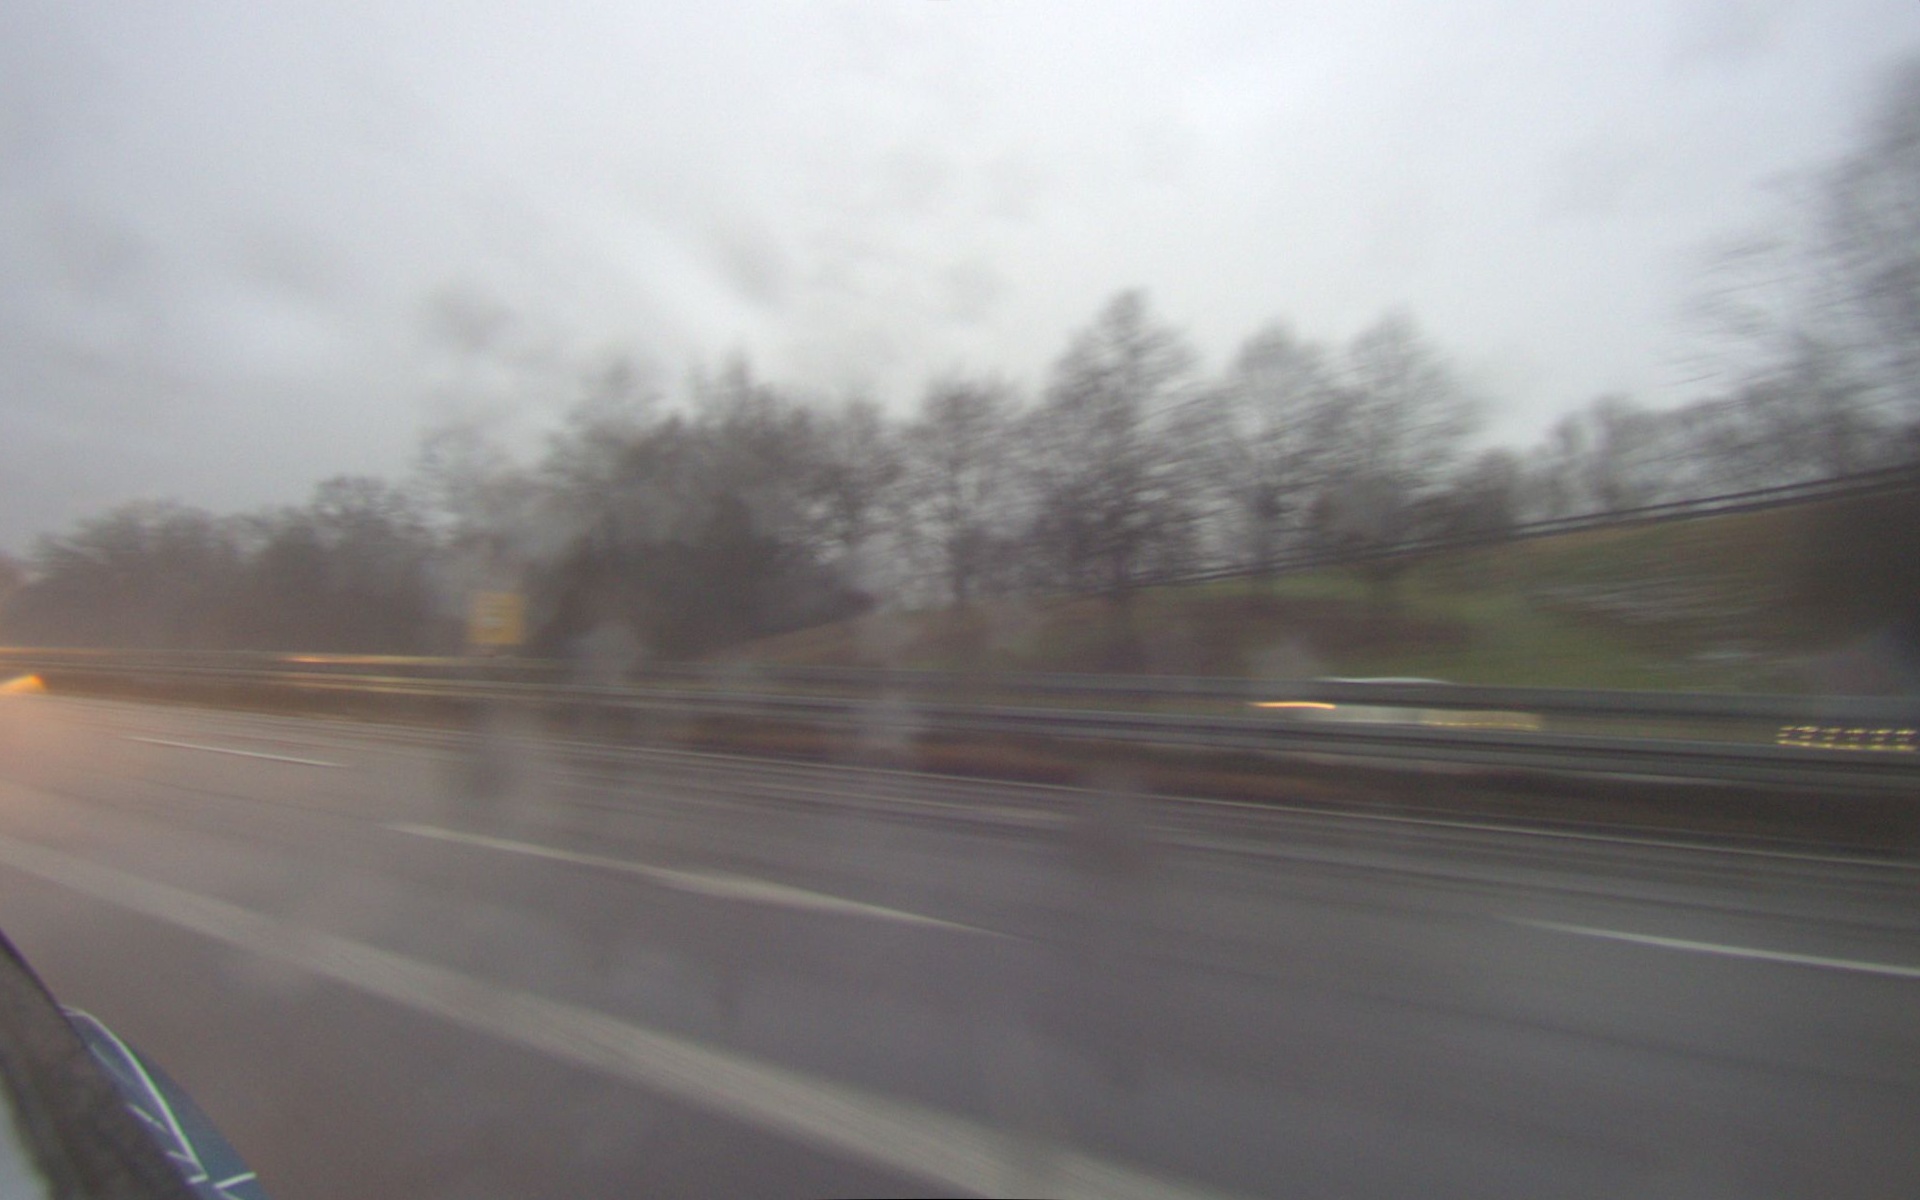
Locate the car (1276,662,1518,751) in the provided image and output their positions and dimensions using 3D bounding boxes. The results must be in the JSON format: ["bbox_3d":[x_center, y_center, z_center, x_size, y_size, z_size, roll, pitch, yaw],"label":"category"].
[{"bbox_3d":[8.964,2.111,20.885,4.383,1.581,1.741,-1,-2,32],"label":"car"}]

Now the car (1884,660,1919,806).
[{"bbox_3d":[13.094,1.487,10.693,4.667,1.581,1.739,-1,-2,35],"label":"car"}]
